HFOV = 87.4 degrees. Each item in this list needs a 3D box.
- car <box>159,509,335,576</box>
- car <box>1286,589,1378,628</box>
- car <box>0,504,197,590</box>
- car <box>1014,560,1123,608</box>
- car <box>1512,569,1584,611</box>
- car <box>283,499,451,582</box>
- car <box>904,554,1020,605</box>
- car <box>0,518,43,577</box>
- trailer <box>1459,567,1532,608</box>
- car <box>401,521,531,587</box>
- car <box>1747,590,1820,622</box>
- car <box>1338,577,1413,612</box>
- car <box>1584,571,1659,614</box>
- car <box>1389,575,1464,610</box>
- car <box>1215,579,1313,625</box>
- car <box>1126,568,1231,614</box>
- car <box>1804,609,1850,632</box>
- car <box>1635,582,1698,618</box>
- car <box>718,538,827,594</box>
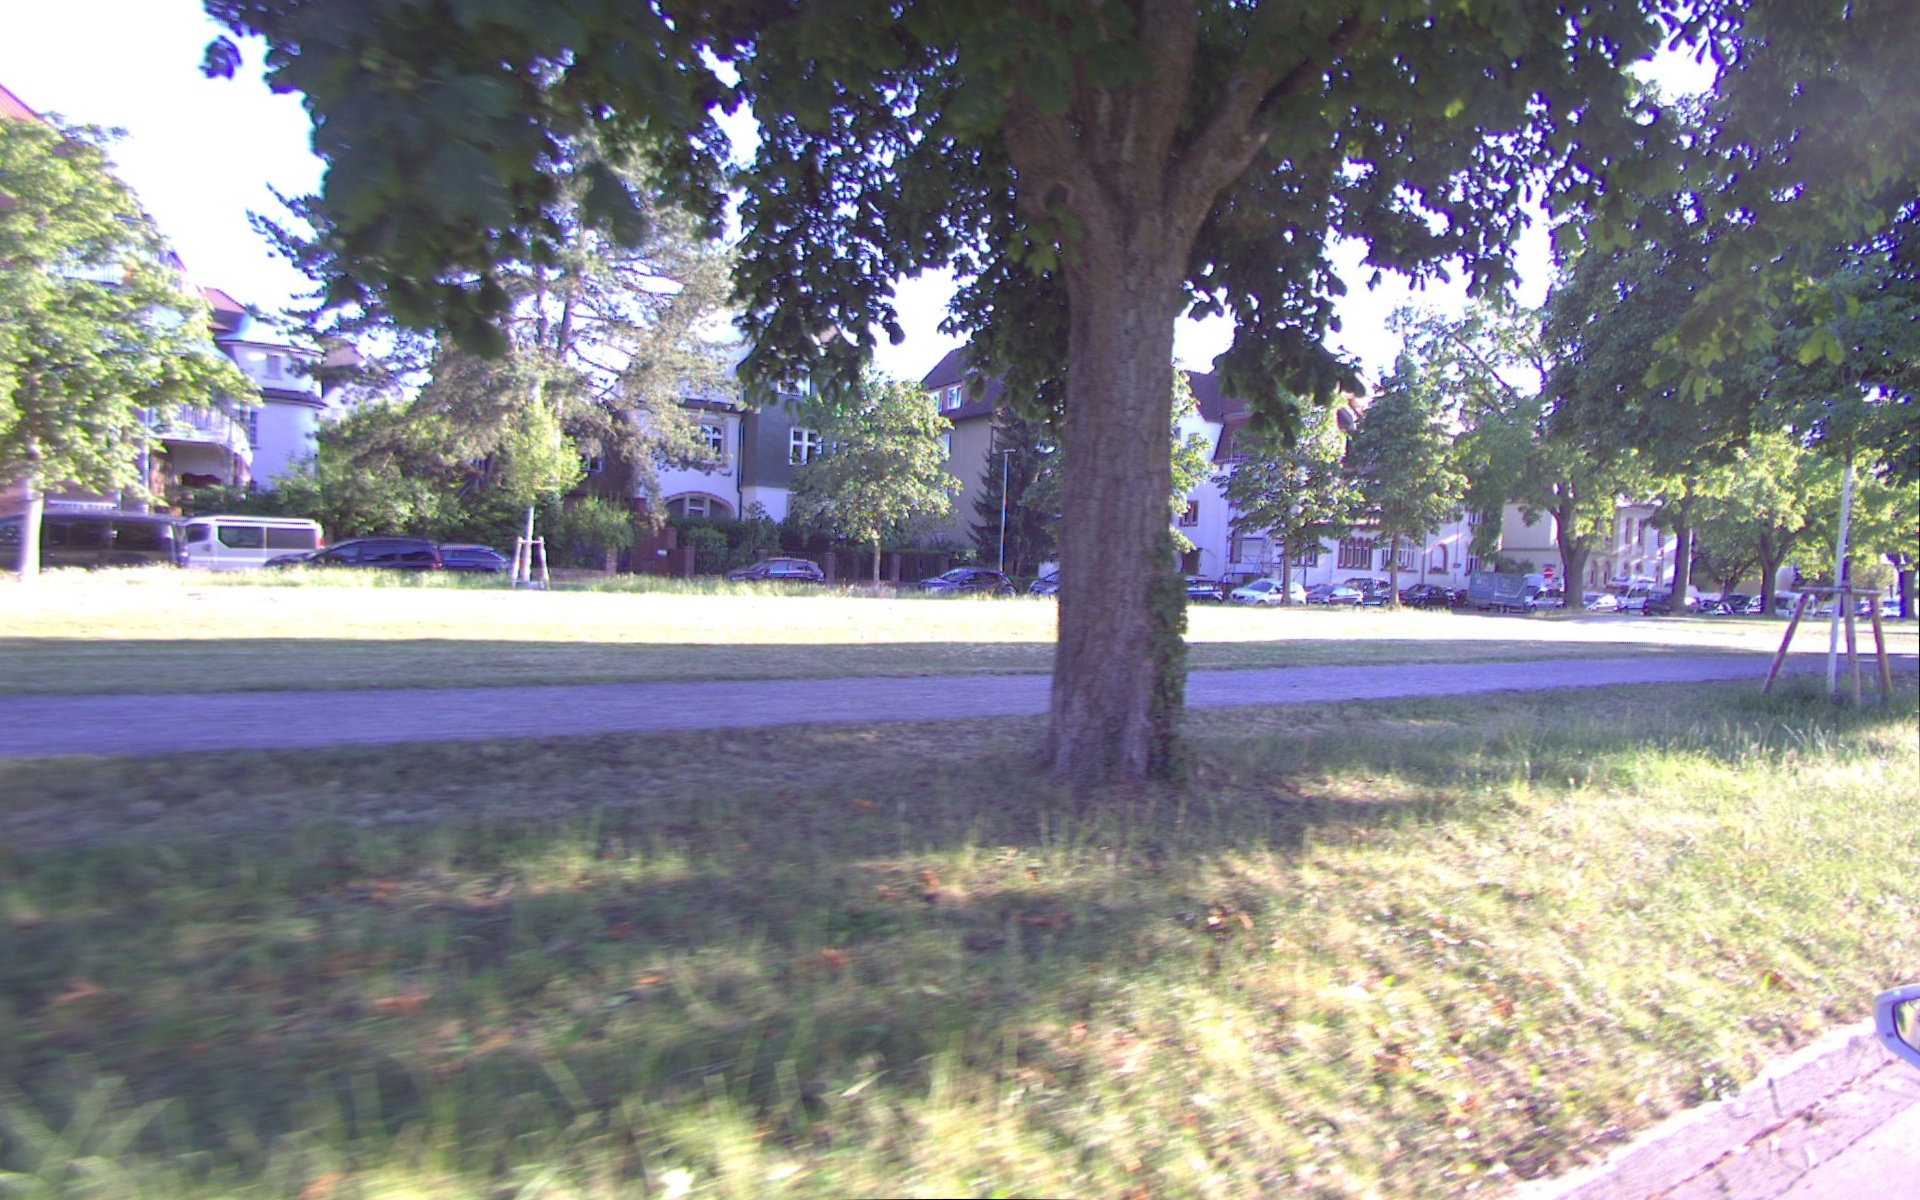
[{"bbox_3d":[-22.355,-1.791,31.739,4.356,1.862,1.808,1,3,-30],"label":"car"},{"bbox_3d":[18.479,0.432,49.895,4.204,1.671,1.984,2,3,-29],"label":"car"},{"bbox_3d":[-22.528,-1.337,25.178,5.183,1.967,1.984,1,3,-30],"label":"car"},{"bbox_3d":[4.457,-0.637,41.310,3.951,1.706,1.985,2,3,-28],"label":"car"},{"bbox_3d":[41.050,-0.674,70.116,5.126,2.708,1.984,2,2,-30],"label":"car"},{"bbox_3d":[-16.730,-1.660,28.518,3.953,2.041,1.983,2,3,-30],"label":"car"},{"bbox_3d":[0.069,-0.808,38.896,3.951,1.706,1.985,2,3,-28],"label":"car"},{"bbox_3d":[-28.989,-1.563,28.379,4.254,1.645,1.748,1,3,-30],"label":"car"},{"bbox_3d":[35.671,-0.807,66.874,4.668,2.460,1.984,2,2,-30],"label":"trailer"},{"bbox_3d":[-17.199,-1.606,35.019,3.951,2.041,1.984,2,3,-29],"label":"car"},{"bbox_3d":[62.831,0.441,76.615,5.394,2.266,2.522,1,2,-30],"label":"car"},{"bbox_3d":[25.080,-0.333,60.570,4.448,1.901,1.981,2,2,-33],"label":"car"},{"bbox_3d":[49.783,-0.569,75.587,5.751,2.961,2.425,2,0,-31],"label":"car"},{"bbox_3d":[29.487,-0.443,63.507,4.698,1.979,1.982,2,2,-32],"label":"car"},{"bbox_3d":[14.351,0.098,47.329,4.204,1.885,1.984,2,3,-29],"label":"car"},{"bbox_3d":[9.664,-0.394,44.417,4.204,1.744,1.984,2,3,-29],"label":"car"},{"bbox_3d":[82.259,1.939,95.277,4.433,2.040,1.983,2,0,-31],"label":"car"},{"bbox_3d":[47.165,0.003,67.059,4.263,2.205,1.676,2,2,-30],"label":"car"},{"bbox_3d":[-7.655,-1.374,41.034,3.948,2.041,1.986,2,3,-27],"label":"car"}]
